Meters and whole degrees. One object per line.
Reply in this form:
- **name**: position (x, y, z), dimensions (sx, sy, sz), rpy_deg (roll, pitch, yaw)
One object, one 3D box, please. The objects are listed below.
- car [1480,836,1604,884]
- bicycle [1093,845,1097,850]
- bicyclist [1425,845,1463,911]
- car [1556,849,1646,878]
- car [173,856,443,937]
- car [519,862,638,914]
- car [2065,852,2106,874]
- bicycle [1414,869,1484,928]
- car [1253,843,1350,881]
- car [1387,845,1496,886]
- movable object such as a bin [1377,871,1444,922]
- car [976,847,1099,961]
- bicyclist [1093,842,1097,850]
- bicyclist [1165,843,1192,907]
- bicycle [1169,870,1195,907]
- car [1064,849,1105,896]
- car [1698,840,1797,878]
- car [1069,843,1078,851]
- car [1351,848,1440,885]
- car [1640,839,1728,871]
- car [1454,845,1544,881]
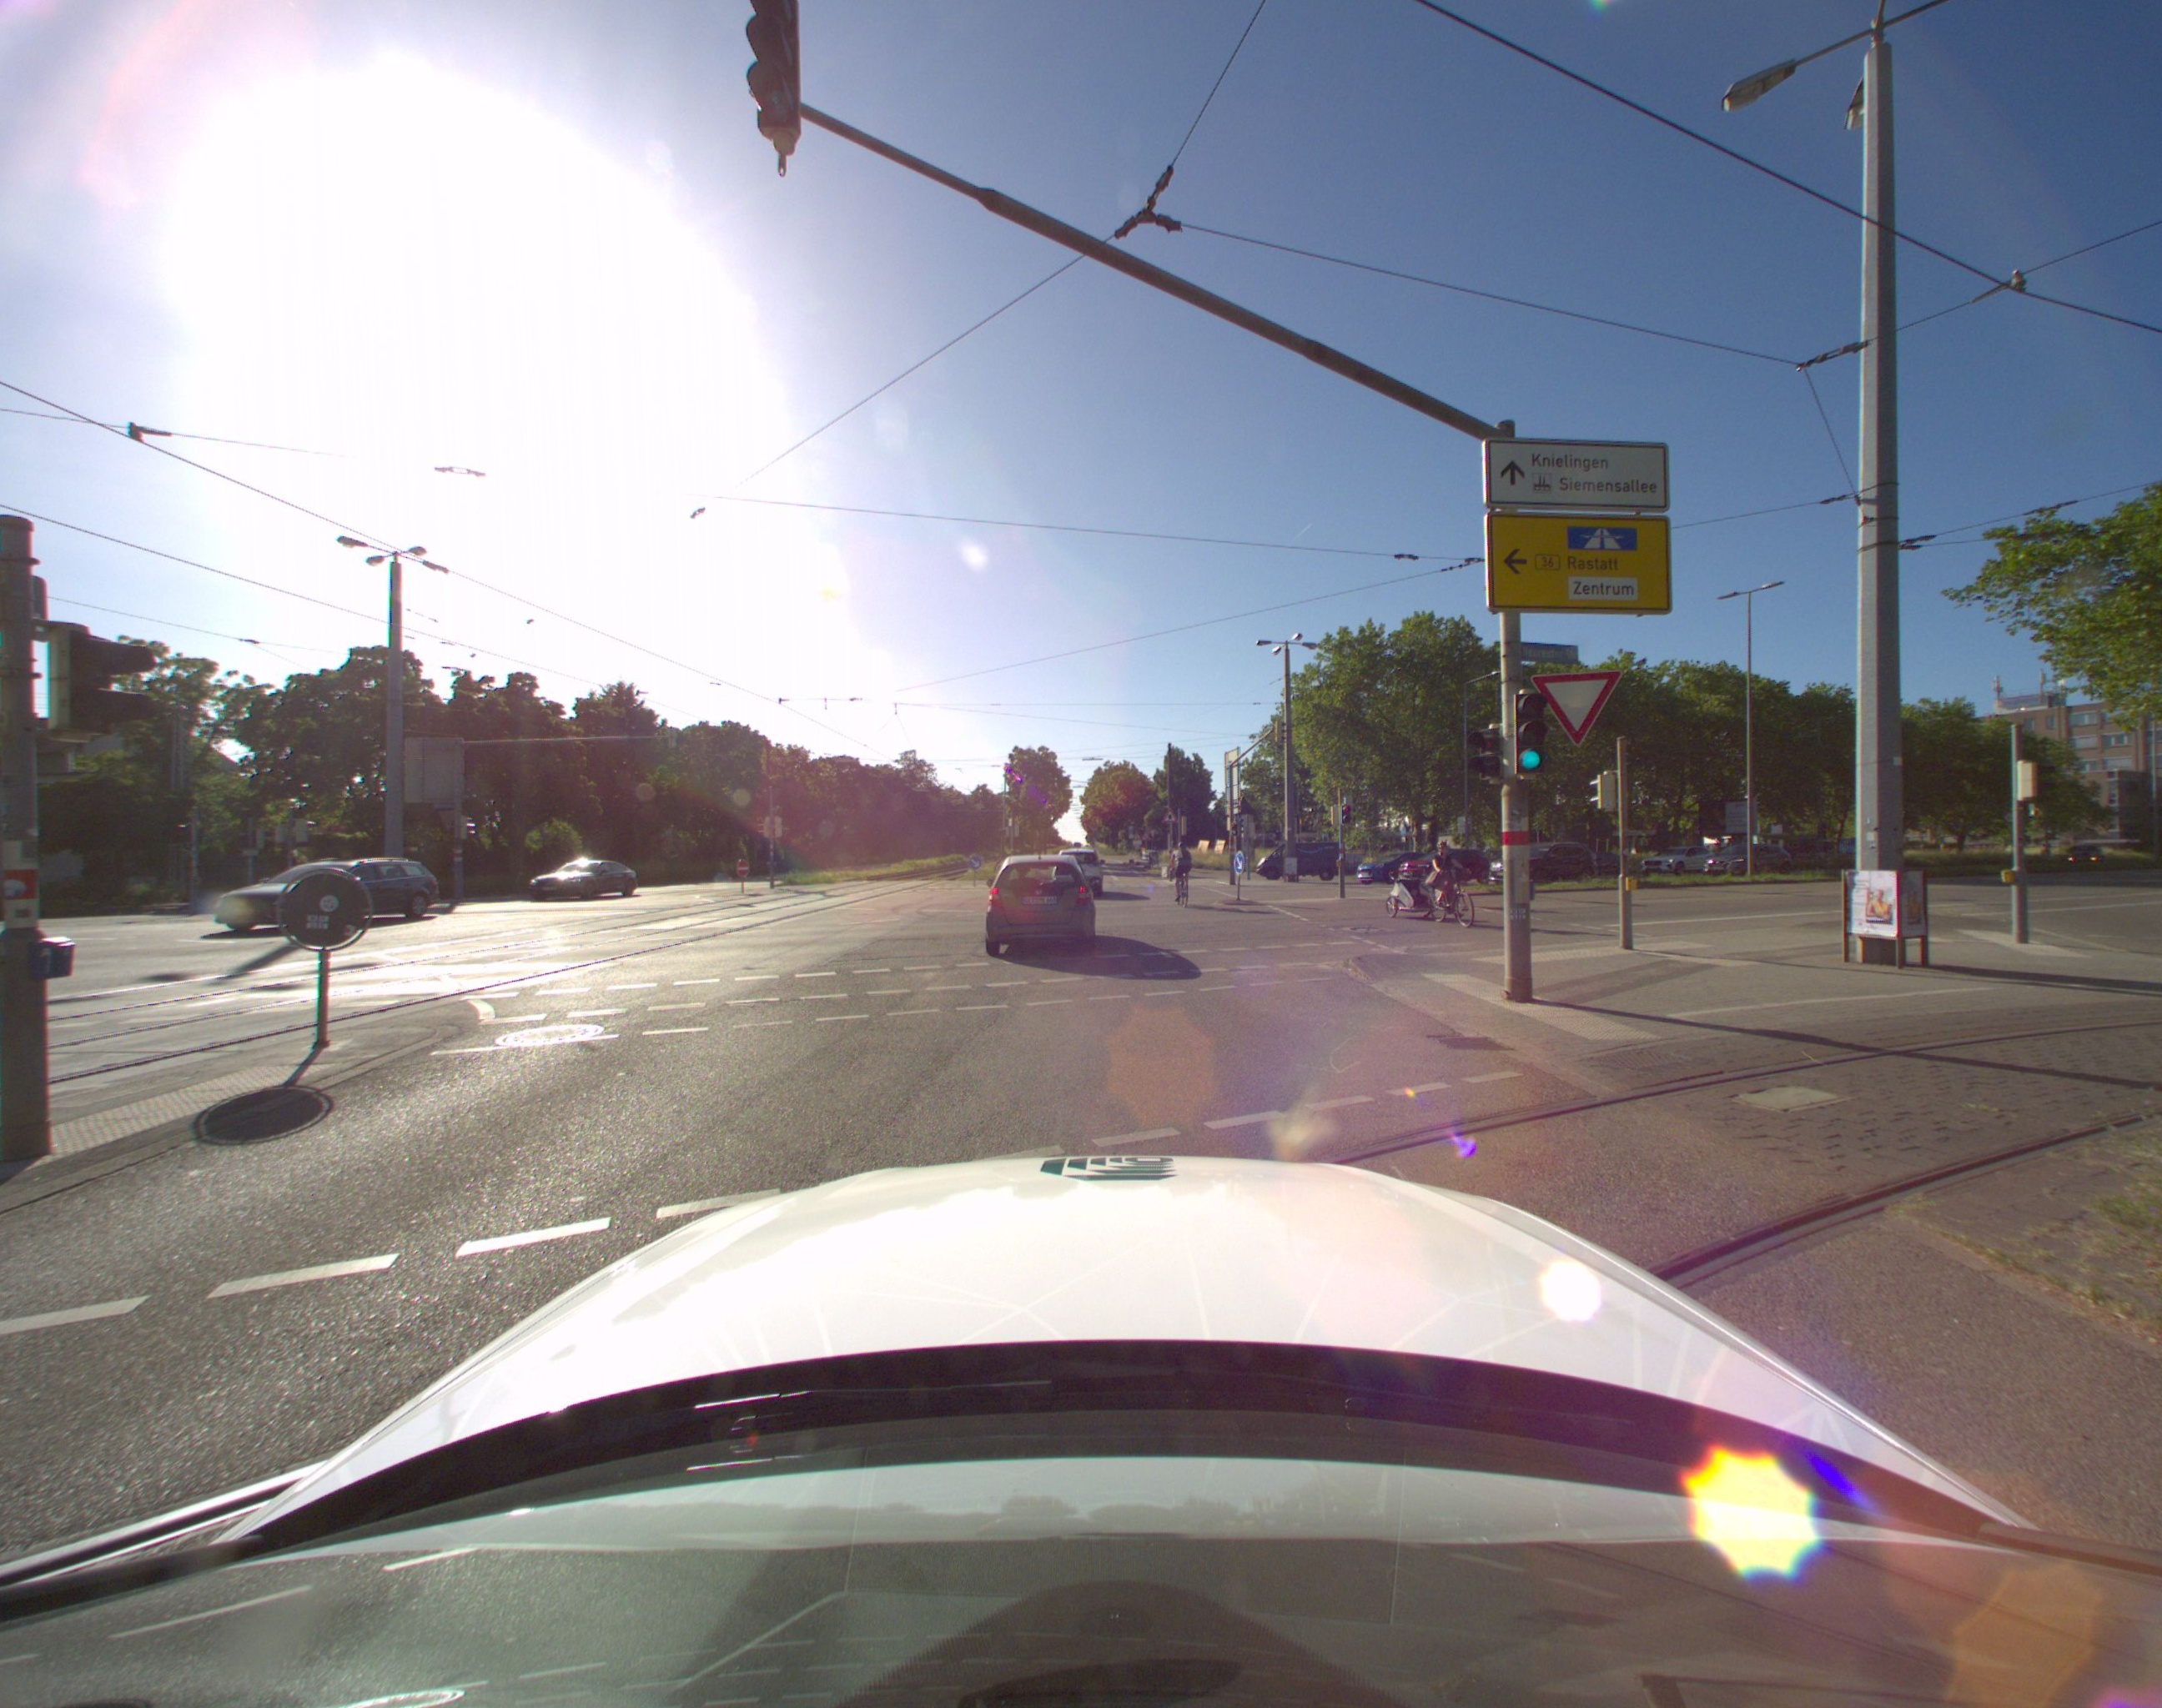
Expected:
- **car**: position (17.716, 0.206, 31.261), dimensions (4.503, 1.711, 1.905), rpy_deg (-1, 0, -26)
- **bicycle**: position (3.007, -1.368, 176.539), dimensions (0.815, 1.048, 2.507), rpy_deg (0, -1, 2)
- **bicyclist**: position (7.631, 0.498, 17.128), dimensions (0.509, 1.340, 0.564), rpy_deg (-1, 0, -7)
- **car**: position (27.692, 0.479, 43.391), dimensions (4.578, 1.408, 1.918), rpy_deg (-1, 0, -26)
- **car**: position (-17.308, 0.846, 18.642), dimensions (1.809, 1.596, 4.689), rpy_deg (0, 0, -2)
- **car**: position (-17.926, 1.154, 29.292), dimensions (1.785, 1.687, 4.001), rpy_deg (-1, 0, 0)
- **car**: position (82.503, 0.733, 66.896), dimensions (3.215, 1.616, 1.360), rpy_deg (-1, -3, -26)
- **bicycle**: position (7.541, 0.882, 16.763), dimensions (0.466, 1.119, 1.816), rpy_deg (-1, 0, -5)
- **car**: position (12.557, 0.429, 46.407), dimensions (5.057, 2.070, 2.142), rpy_deg (-1, 0, 23)
- **car**: position (14.948, 0.455, 33.760), dimensions (4.093, 1.600, 1.803), rpy_deg (-1, 0, -22)
- **movable object such as a bin**: position (7.428, 0.940, 18.425), dimensions (0.907, 1.068, 1.315), rpy_deg (-1, 0, -3)
- **car**: position (-0.574, 0.699, 13.383), dimensions (1.664, 1.515, 3.676), rpy_deg (1, 1, 2)
- **bicyclist**: position (3.019, -1.721, 176.564), dimensions (0.815, 1.524, 0.966), rpy_deg (0, -1, 1)
- **bicyclist**: position (2.613, 0.547, 21.876), dimensions (0.613, 1.679, 0.934), rpy_deg (-1, 0, 1)
- **bicycle**: position (2.736, 0.922, 22.203), dimensions (0.522, 0.923, 2.090), rpy_deg (-1, 0, 3)
- **car**: position (0.153, 0.609, 28.336), dimensions (1.346, 1.528, 3.124), rpy_deg (-1, 0, 1)
- **car**: position (30.236, 0.205, 36.952), dimensions (4.007, 1.618, 1.983), rpy_deg (-1, 0, -25)
- **car**: position (-1.993, -1.820, 217.680), dimensions (1.986, 2.013, 4.001), rpy_deg (-1, 0, 1)
- **car**: position (14.682, 0.576, 37.973), dimensions (3.867, 1.600, 1.698), rpy_deg (-1, 0, -26)
- **car**: position (33.719, 0.081, 45.523), dimensions (4.784, 1.682, 1.893), rpy_deg (1, -1, -25)
- **car**: position (20.973, 0.429, 40.845), dimensions (4.183, 1.678, 1.918), rpy_deg (-1, 0, -26)
